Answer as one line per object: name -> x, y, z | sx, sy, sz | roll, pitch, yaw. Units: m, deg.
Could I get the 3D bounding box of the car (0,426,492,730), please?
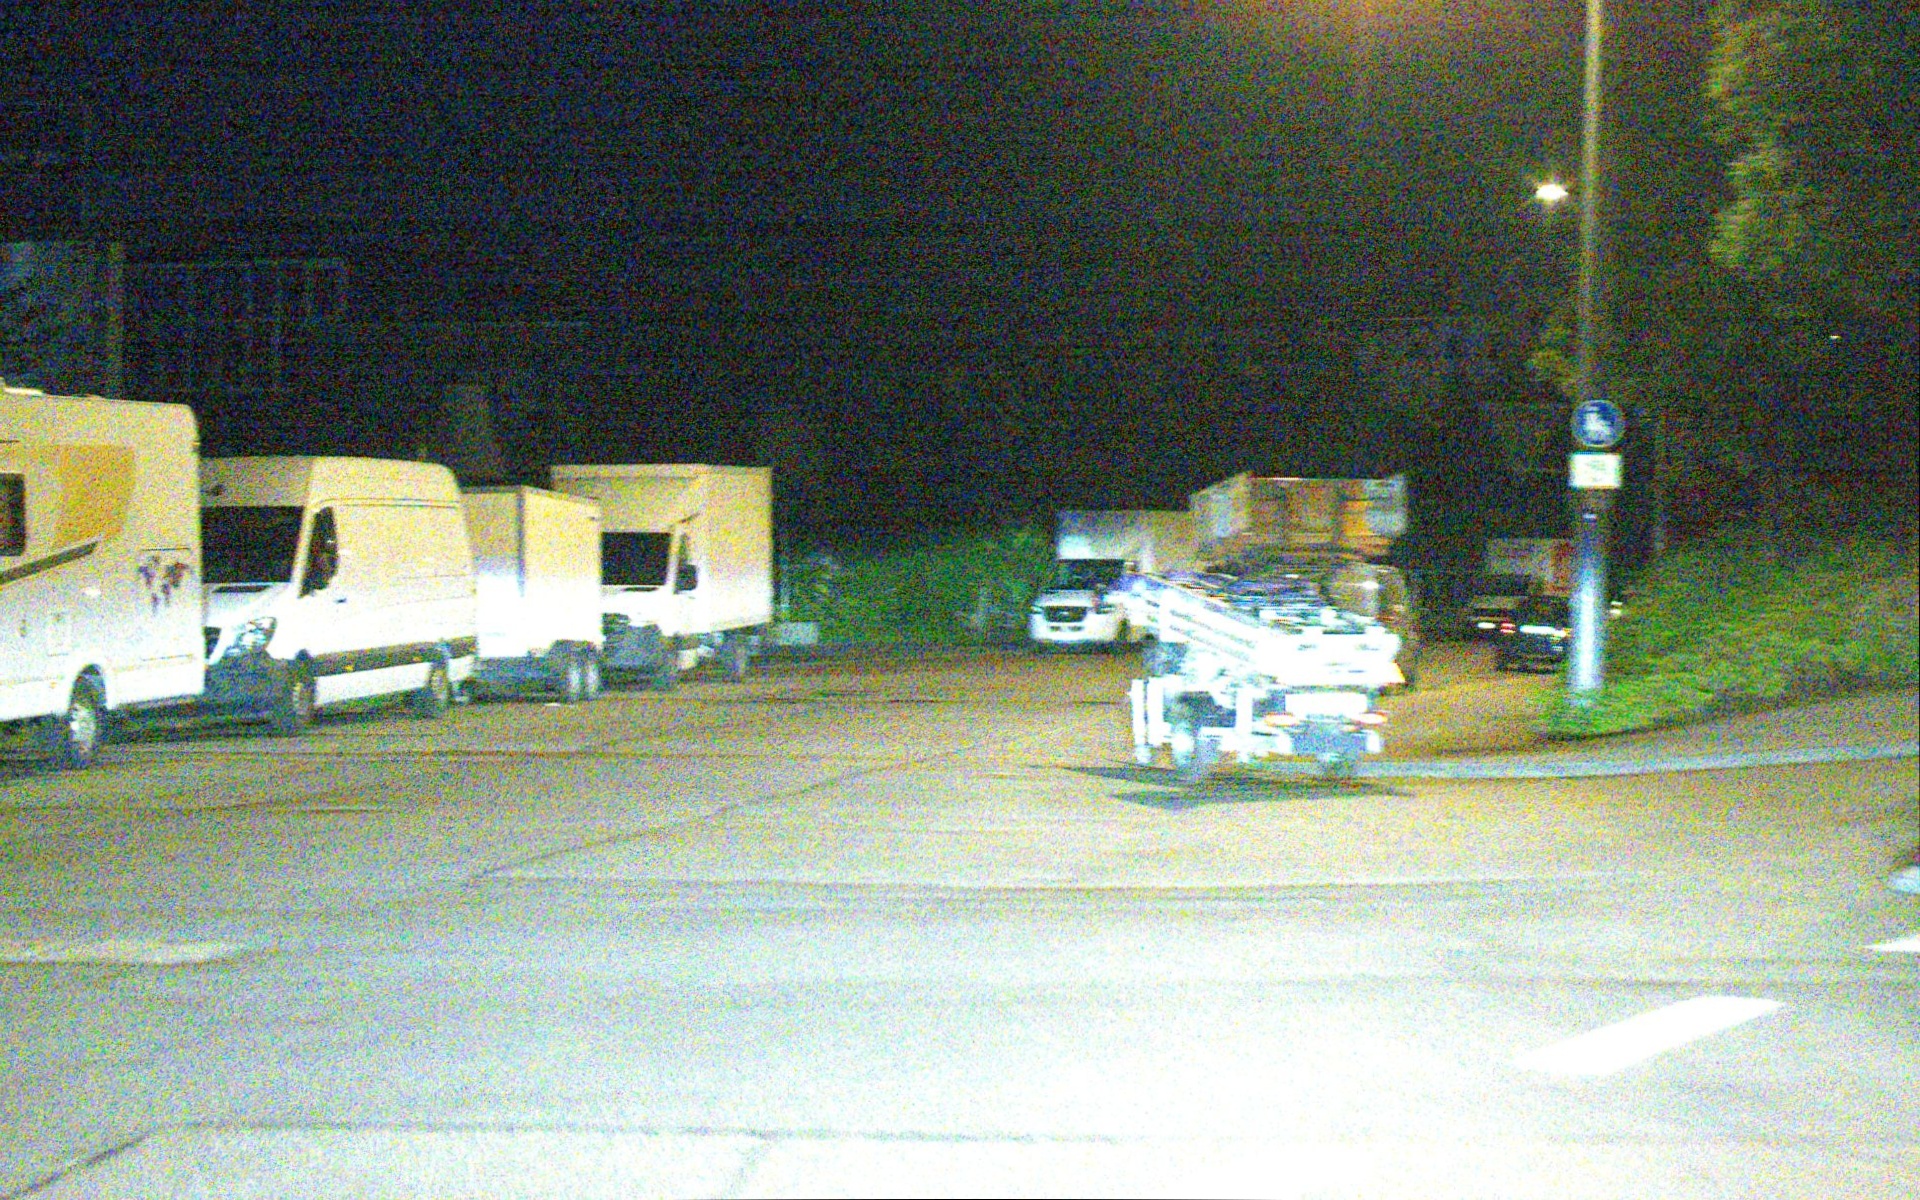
car -> -6.678, -0.227, 33.053 | 2.520, 2.597, 7.089 | 0, 1, 8

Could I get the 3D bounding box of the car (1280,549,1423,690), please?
car -> 5.514, 0.260, 48.088 | 1.721, 1.815, 3.998 | 2, 0, 9

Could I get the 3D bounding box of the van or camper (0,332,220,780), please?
van or camper -> -7.819, -0.302, 24.065 | 2.520, 3.084, 7.442 | 0, 1, 10

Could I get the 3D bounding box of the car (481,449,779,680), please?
car -> -4.379, -0.481, 47.156 | 2.520, 2.917, 7.199 | 0, 1, 7

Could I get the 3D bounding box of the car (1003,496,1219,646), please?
car -> 3.445, -0.655, 76.546 | 2.522, 3.160, 7.129 | 0, 1, 22

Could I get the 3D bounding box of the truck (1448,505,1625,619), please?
truck -> 18.277, -1.201, 108.460 | 1.997, 3.392, 8.962 | 3, 2, 33

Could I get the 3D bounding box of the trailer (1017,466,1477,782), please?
trailer -> 2.037, 0.149, 26.202 | 1.559, 2.153, 5.223 | 0, 0, -18

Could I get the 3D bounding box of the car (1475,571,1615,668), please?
car -> 11.651, 0.398, 68.329 | 1.723, 1.815, 3.995 | 3, 0, 24

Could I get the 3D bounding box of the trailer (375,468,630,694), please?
trailer -> -5.285, -0.239, 40.159 | 1.994, 2.519, 3.567 | 0, 1, 9

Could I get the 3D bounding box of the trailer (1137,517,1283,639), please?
trailer -> 6.036, -0.552, 82.403 | 1.996, 2.803, 4.697 | 2, 1, 24
